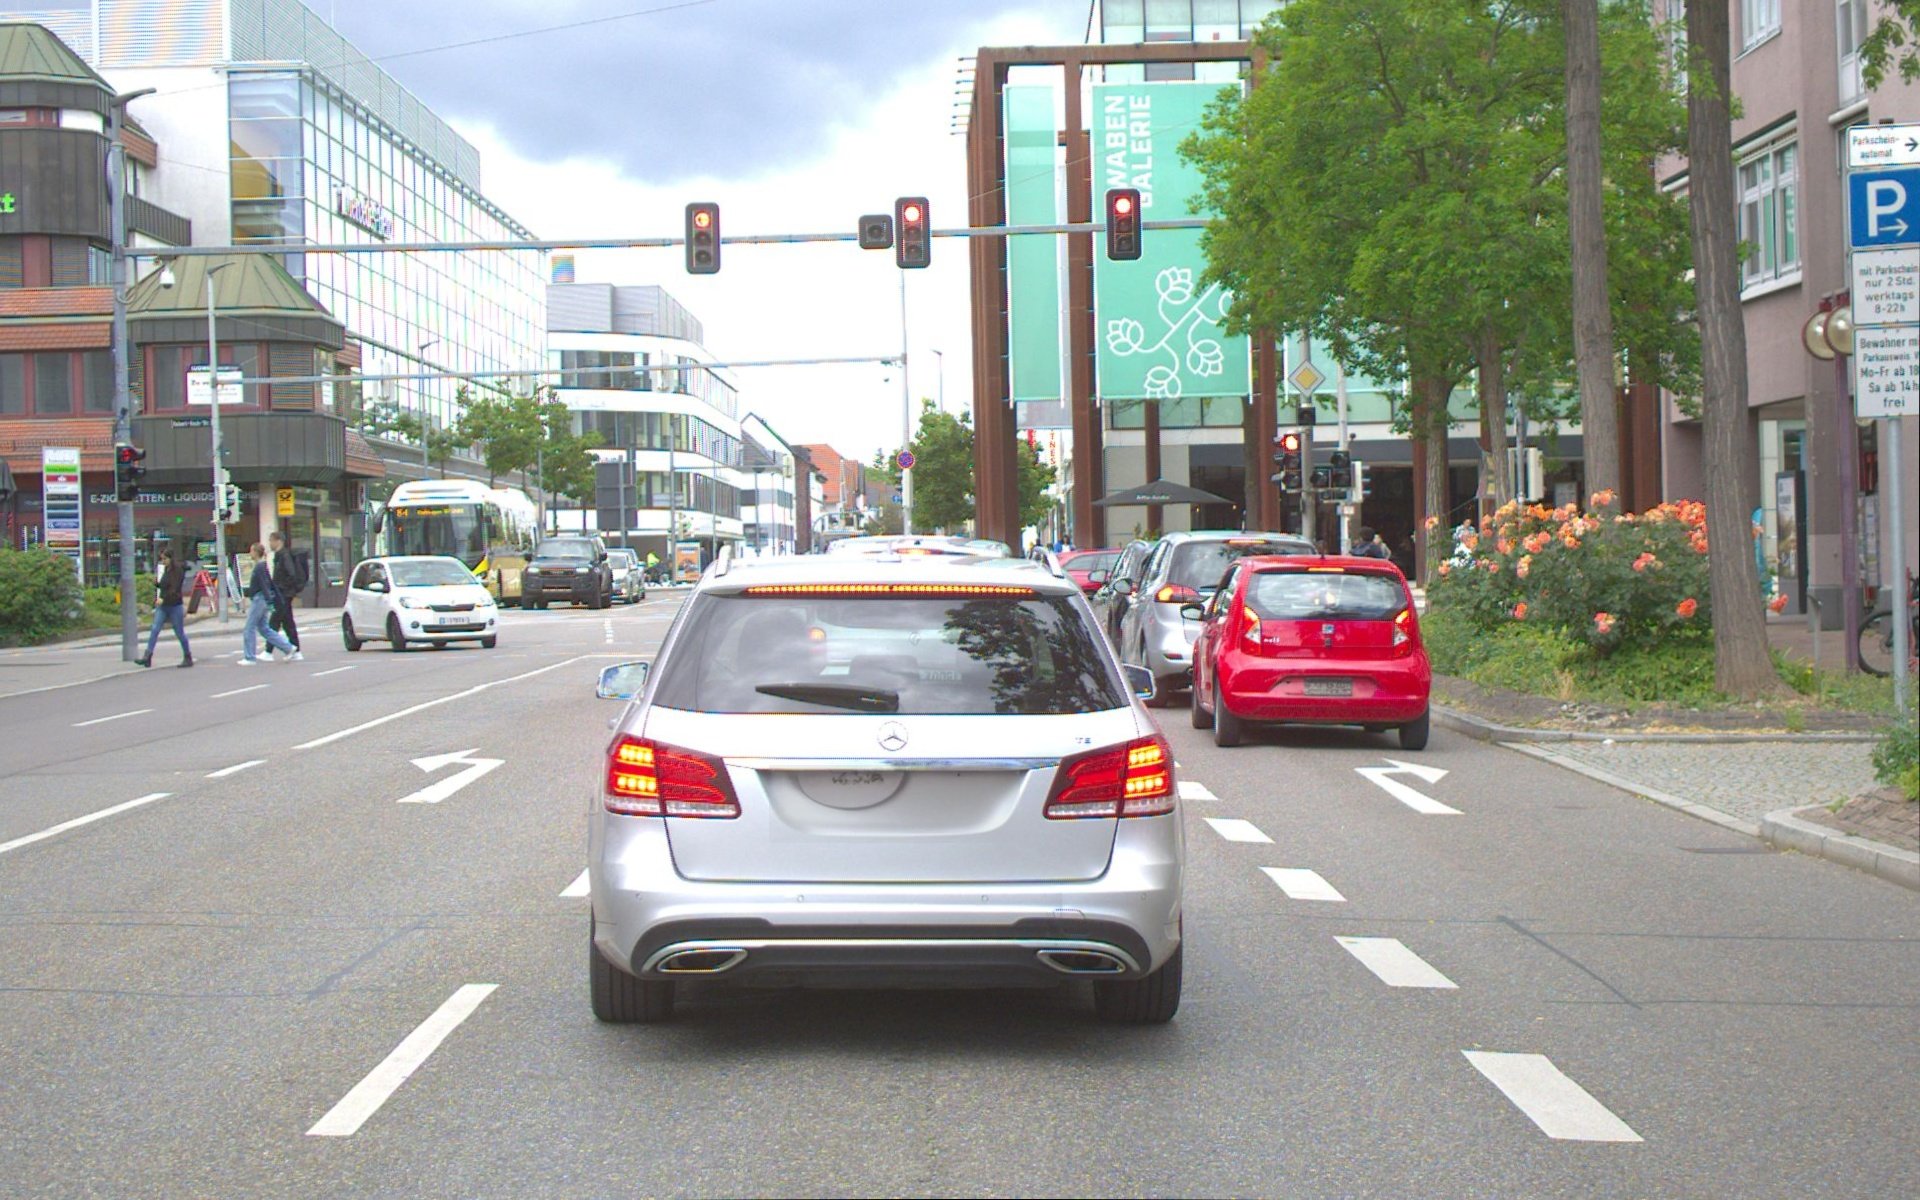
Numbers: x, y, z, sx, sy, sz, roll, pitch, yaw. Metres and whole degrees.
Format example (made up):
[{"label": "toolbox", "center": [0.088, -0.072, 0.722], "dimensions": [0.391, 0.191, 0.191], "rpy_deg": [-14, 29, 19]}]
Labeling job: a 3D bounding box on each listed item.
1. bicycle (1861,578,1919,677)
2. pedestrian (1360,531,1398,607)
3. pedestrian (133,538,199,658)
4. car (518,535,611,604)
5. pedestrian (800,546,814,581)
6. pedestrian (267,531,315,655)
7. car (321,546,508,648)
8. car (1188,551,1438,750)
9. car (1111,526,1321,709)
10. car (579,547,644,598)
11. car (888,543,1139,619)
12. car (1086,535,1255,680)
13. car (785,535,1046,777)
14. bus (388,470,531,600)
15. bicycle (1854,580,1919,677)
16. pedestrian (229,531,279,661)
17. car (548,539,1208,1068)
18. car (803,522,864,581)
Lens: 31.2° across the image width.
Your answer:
[{"label": "bicycle", "center": [10.192, 0.273, 35.032], "dimensions": [1.901, 0.994, 0.468], "rpy_deg": [-1, 1, 4]}, {"label": "pedestrian", "center": [9.228, -0.686, 75.723], "dimensions": [0.651, 1.645, 0.559], "rpy_deg": [-1, 1, -14]}, {"label": "pedestrian", "center": [-10.976, -0.032, 47.519], "dimensions": [0.652, 1.645, 0.559], "rpy_deg": [-1, 1, 21]}, {"label": "car", "center": [-10.072, -0.800, 87.821], "dimensions": [1.993, 1.700, 4.065], "rpy_deg": [-1, 1, -1]}, {"label": "pedestrian", "center": [-7.526, -1.793, 168.735], "dimensions": [0.520, 1.728, 0.488], "rpy_deg": [-1, 1, 20]}, {"label": "pedestrian", "center": [-9.629, -0.109, 49.484], "dimensions": [0.644, 1.769, 0.570], "rpy_deg": [-1, 1, -11]}, {"label": "car", "center": [-8.466, -0.051, 53.171], "dimensions": [1.574, 1.483, 3.464], "rpy_deg": [-2, 1, -32]}, {"label": "car", "center": [2.726, 0.348, 27.137], "dimensions": [1.586, 1.438, 3.348], "rpy_deg": [1, 1, 0]}, {"label": "car", "center": [2.412, 0.127, 33.192], "dimensions": [1.586, 1.628, 3.917], "rpy_deg": [1, 1, -2]}, {"label": "car", "center": [-9.660, -0.775, 95.424], "dimensions": [1.555, 1.387, 3.288], "rpy_deg": [-1, 1, -1]}, {"label": "car", "center": [1.022, -0.377, 65.586], "dimensions": [4.715, 1.365, 1.964], "rpy_deg": [-1, 1, 1]}, {"label": "car", "center": [2.413, 0.050, 40.199], "dimensions": [1.586, 1.589, 3.868], "rpy_deg": [1, 1, -2]}, {"label": "car", "center": [-0.296, 0.326, 23.478], "dimensions": [1.640, 1.522, 3.394], "rpy_deg": [0, 1, 0]}, {"label": "bus", "center": [-13.112, -1.711, 90.644], "dimensions": [2.686, 3.250, 8.654], "rpy_deg": [-1, 1, -1]}, {"label": "bicycle", "center": [10.199, 0.285, 35.579], "dimensions": [1.769, 0.994, 0.447], "rpy_deg": [-1, 1, 4]}, {"label": "pedestrian", "center": [-9.866, -0.061, 48.083], "dimensions": [0.646, 1.784, 0.684], "rpy_deg": [-1, 1, -11]}, {"label": "car", "center": [-0.233, 0.542, 11.787], "dimensions": [1.815, 1.443, 4.369], "rpy_deg": [1, 1, 0]}, {"label": "car", "center": [-4.260, -1.644, 116.573], "dimensions": [1.993, 1.942, 4.951], "rpy_deg": [-1, 1, -1]}]
